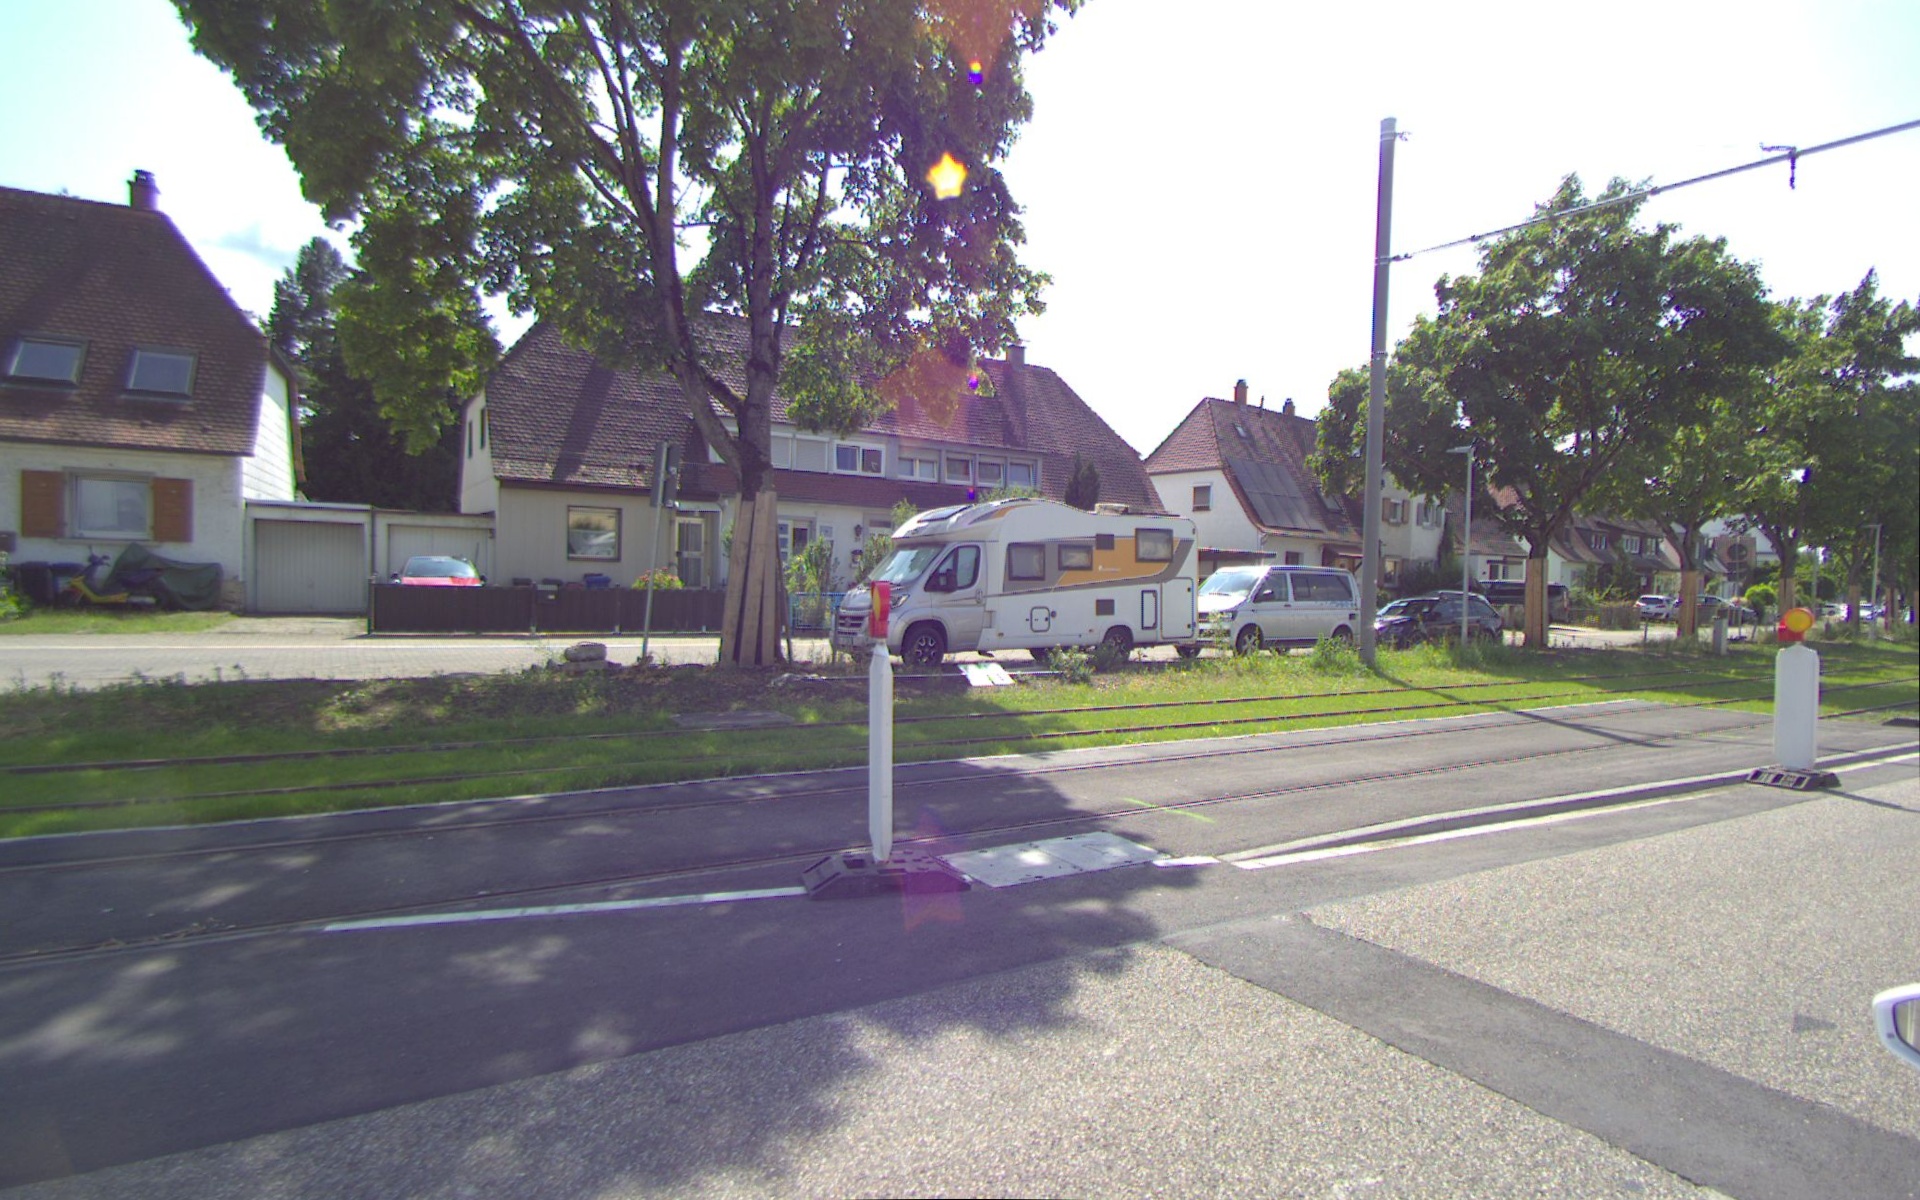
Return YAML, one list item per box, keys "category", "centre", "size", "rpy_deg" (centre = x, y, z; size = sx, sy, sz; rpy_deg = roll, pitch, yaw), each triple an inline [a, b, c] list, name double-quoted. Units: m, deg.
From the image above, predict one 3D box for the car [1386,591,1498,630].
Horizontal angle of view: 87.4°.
- category: "car"
  centre: [20.038, 0.413, 41.903]
  size: [1.720, 1.477, 3.854]
  rpy_deg: [0, 2, -38]

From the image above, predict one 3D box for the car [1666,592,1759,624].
- category: "car"
  centre: [47.699, 0.492, 63.754]
  size: [2.051, 1.861, 4.427]
  rpy_deg: [0, 2, -43]

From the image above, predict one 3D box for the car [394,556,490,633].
- category: "car"
  centre: [-11.453, -0.152, 22.117]
  size: [1.651, 1.542, 3.598]
  rpy_deg: [1, 1, -31]

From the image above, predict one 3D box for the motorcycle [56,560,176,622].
- category: "motorcycle"
  centre: [-16.911, -0.170, 20.172]
  size: [1.774, 1.185, 0.493]
  rpy_deg: [1, 1, -33]

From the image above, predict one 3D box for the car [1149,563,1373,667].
- category: "car"
  centre: [6.596, 0.283, 21.843]
  size: [4.851, 2.041, 1.982]
  rpy_deg: [1, 2, -33]

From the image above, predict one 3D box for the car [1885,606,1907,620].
- category: "car"
  centre: [105.423, 1.467, 113.151]
  size: [1.709, 1.525, 4.543]
  rpy_deg: [0, 0, 42]

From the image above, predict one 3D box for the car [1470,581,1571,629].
- category: "car"
  centre: [25.628, 0.178, 45.989]
  size: [3.829, 1.922, 1.938]
  rpy_deg: [4, 3, 33]

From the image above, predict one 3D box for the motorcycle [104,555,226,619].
- category: "motorcycle"
  centre: [-16.769, -0.262, 21.220]
  size: [1.987, 1.289, 0.570]
  rpy_deg: [0, 2, -44]

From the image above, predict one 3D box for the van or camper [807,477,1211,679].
- category: "van or camper"
  centre: [1.082, -0.319, 18.001]
  size: [7.218, 3.010, 2.361]
  rpy_deg: [1, 1, -34]

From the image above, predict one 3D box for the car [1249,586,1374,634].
- category: "car"
  centre: [12.912, 0.316, 37.046]
  size: [1.857, 1.551, 3.956]
  rpy_deg: [0, 2, -38]

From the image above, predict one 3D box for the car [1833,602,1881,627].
- category: "car"
  centre: [67.766, 1.067, 75.834]
  size: [5.038, 1.792, 1.866]
  rpy_deg: [1, 1, -39]

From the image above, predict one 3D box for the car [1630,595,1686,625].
- category: "car"
  centre: [39.309, 0.546, 56.536]
  size: [4.015, 1.538, 1.712]
  rpy_deg: [0, 2, -43]

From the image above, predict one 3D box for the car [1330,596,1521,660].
- category: "car"
  centre: [11.609, 0.664, 24.975]
  size: [4.750, 1.406, 1.844]
  rpy_deg: [1, 1, -29]
